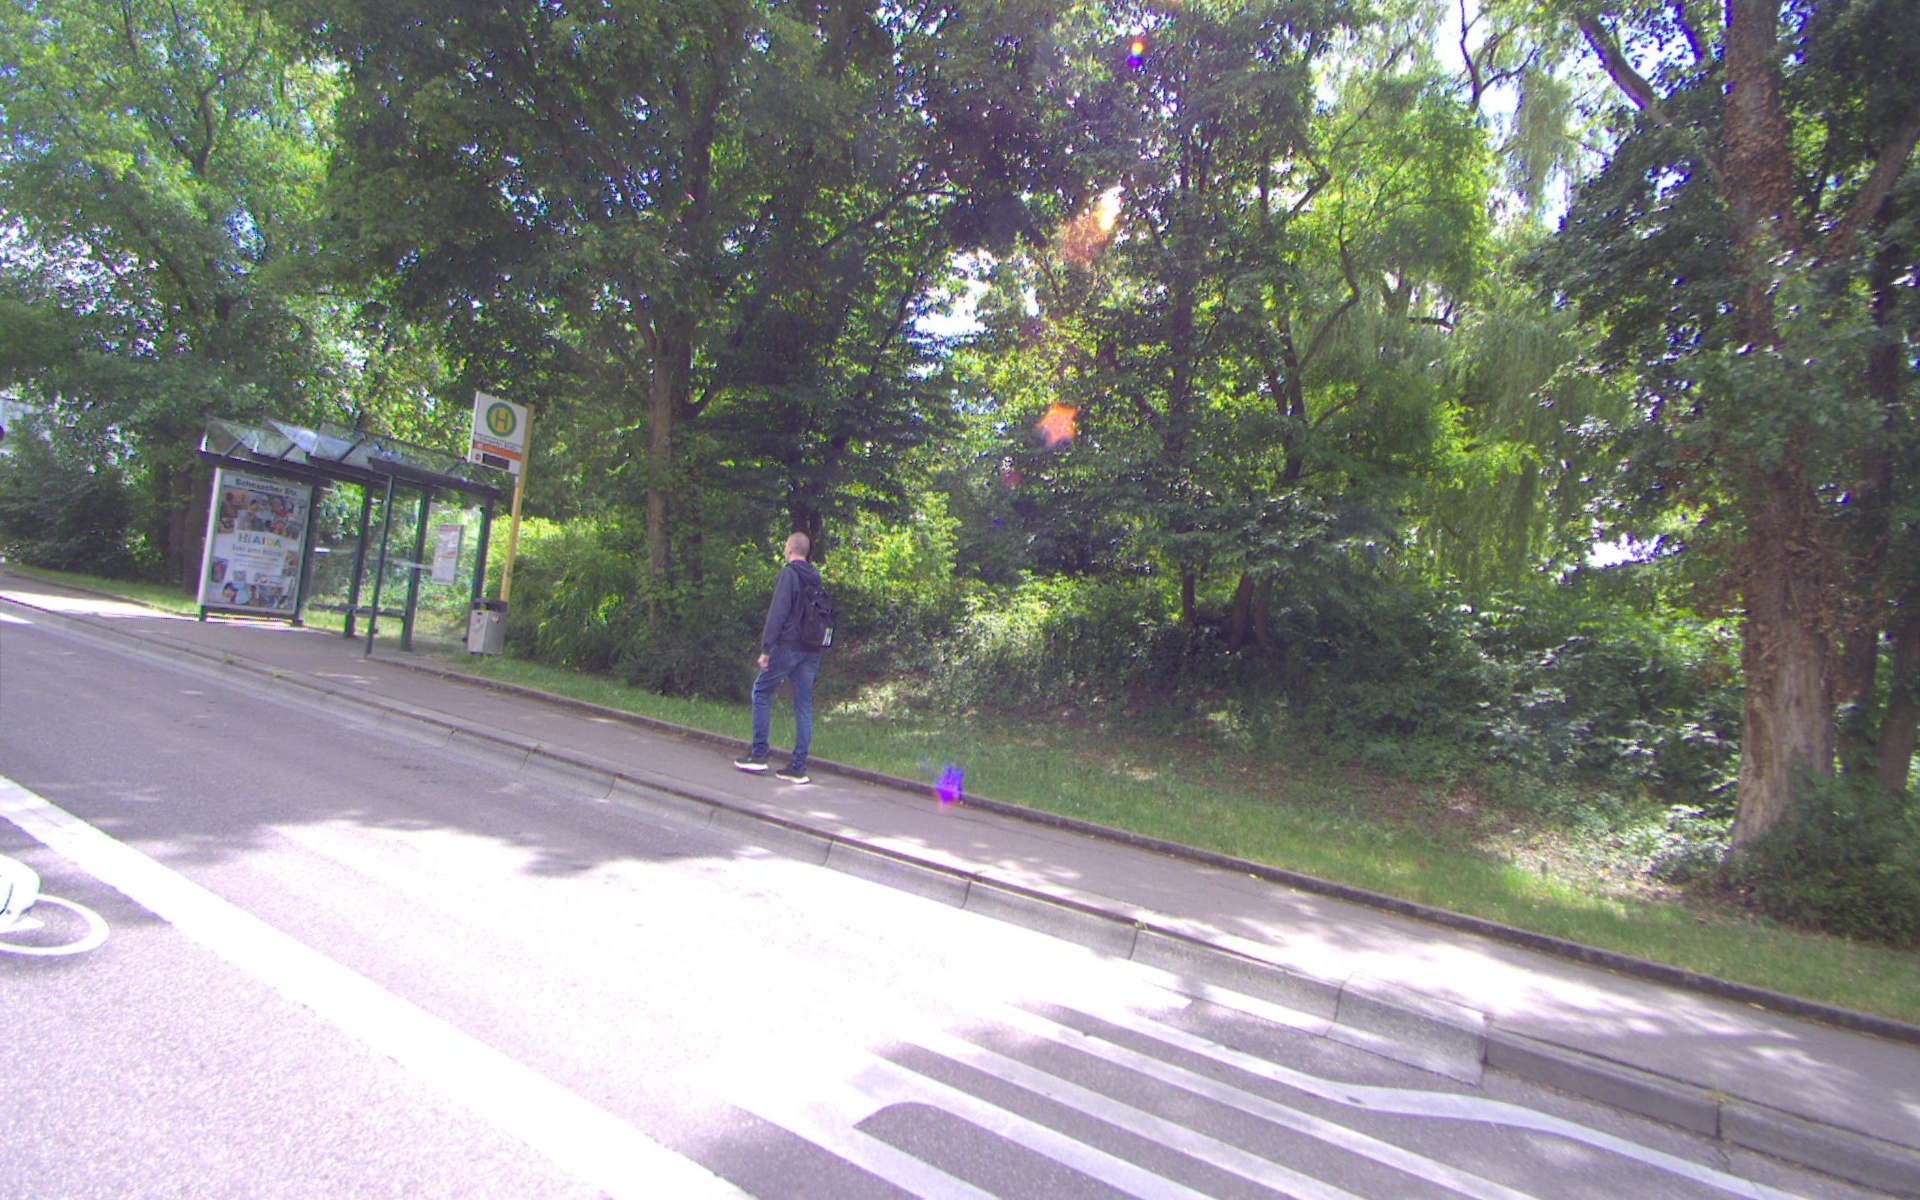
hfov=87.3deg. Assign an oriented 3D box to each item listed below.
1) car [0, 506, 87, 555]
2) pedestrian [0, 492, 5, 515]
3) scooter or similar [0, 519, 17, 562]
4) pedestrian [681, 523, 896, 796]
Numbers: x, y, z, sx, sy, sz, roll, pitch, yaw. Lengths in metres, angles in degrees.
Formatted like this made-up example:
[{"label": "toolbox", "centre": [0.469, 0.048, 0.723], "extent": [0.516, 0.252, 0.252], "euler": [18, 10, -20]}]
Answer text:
[{"label": "car", "centre": [-39.347, -2.984, 42.216], "extent": [1.679, 1.619, 3.592], "euler": [7, -2, 20]}, {"label": "pedestrian", "centre": [-32.504, -2.762, 33.562], "extent": [0.612, 1.808, 0.562], "euler": [12, -5, -40]}, {"label": "scooter or similar", "centre": [-26.061, -1.654, 26.903], "extent": [0.325, 1.112, 1.153], "euler": [7, -1, 8]}, {"label": "pedestrian", "centre": [-1.351, 0.441, 7.943], "extent": [1.250, 1.918, 0.802], "euler": [7, -1, 33]}]
